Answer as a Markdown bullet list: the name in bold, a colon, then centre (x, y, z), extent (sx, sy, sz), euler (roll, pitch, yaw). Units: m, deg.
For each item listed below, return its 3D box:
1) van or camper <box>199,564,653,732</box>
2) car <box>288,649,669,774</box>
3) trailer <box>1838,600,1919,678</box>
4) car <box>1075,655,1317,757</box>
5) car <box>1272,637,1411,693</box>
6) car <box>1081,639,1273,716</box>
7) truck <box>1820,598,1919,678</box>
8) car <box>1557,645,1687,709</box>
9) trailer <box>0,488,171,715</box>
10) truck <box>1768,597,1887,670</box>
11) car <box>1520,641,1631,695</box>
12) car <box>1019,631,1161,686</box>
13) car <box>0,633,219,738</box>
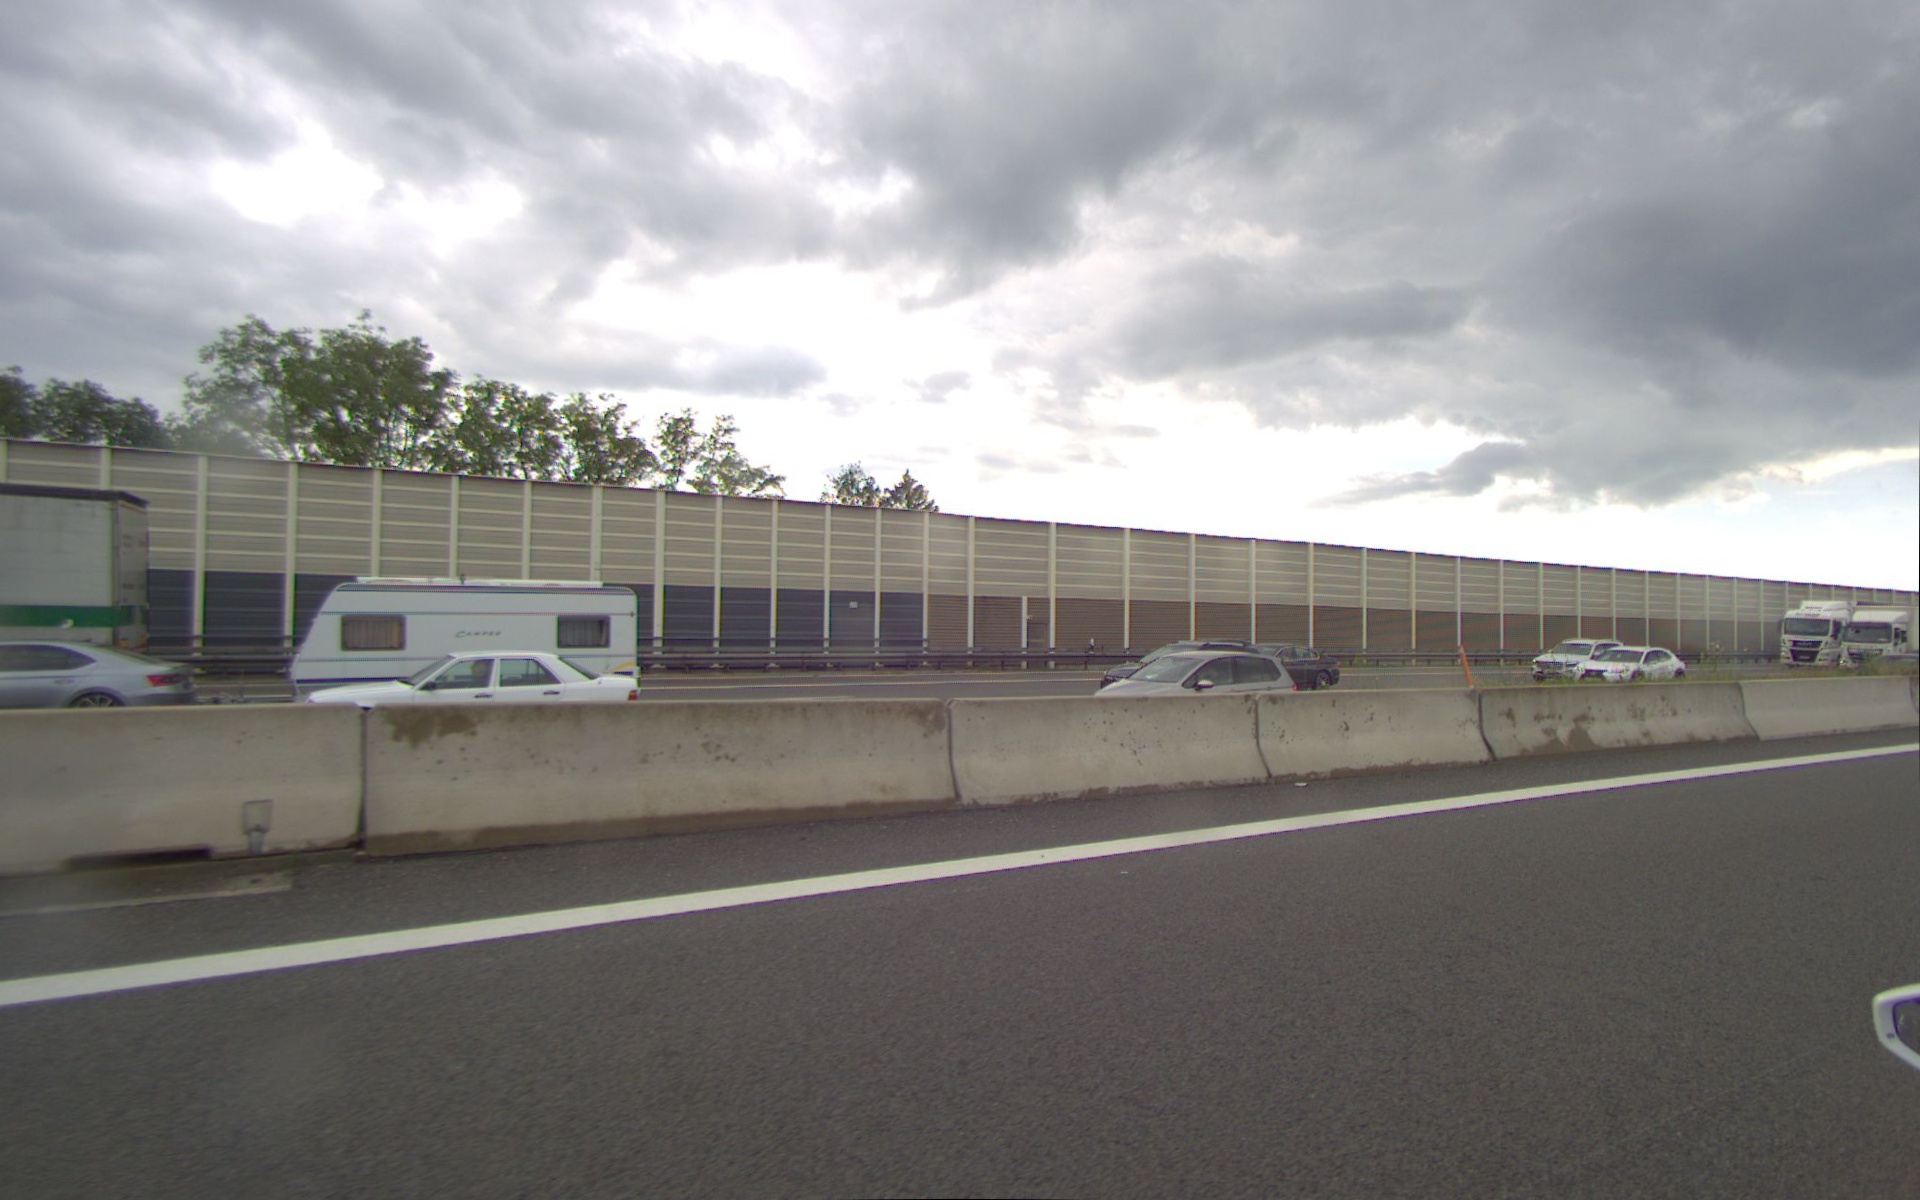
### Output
- **van or camper**: centre (-9.641, 0.886, 18.851), extent (7.066, 2.676, 2.333), euler (2, -2, -30)
- **car**: centre (-7.310, 1.608, 15.609), extent (5.036, 1.620, 1.914), euler (2, -2, -30)
- **trailer**: centre (54.337, 2.187, 56.384), extent (14.806, 3.987, 3.064), euler (2, 0, -30)
- **car**: centre (4.375, 1.854, 18.514), extent (4.203, 1.620, 1.914), euler (2, -2, -30)
- **car**: centre (12.122, 2.028, 31.880), extent (4.203, 1.620, 1.914), euler (2, -2, -30)
- **car**: centre (5.102, 1.757, 23.510), extent (4.203, 1.620, 1.914), euler (2, -2, -30)
- **truck**: centre (49.511, 2.021, 53.540), extent (7.959, 3.987, 3.064), euler (2, 0, -30)
- **car**: centre (21.730, 2.469, 32.939), extent (4.203, 1.931, 1.914), euler (2, -2, -30)
- **trailer**: centre (-21.676, -0.125, 16.256), extent (13.654, 3.987, 2.550), euler (2, 0, -30)
- **truck**: centre (52.272, 2.024, 60.447), extent (8.810, 4.129, 2.697), euler (2, 0, -30)
- **car**: centre (23.582, 2.578, 38.460), extent (4.203, 1.931, 1.914), euler (2, -2, -30)
- **car**: centre (4.162, 1.842, 32.004), extent (4.203, 1.620, 1.914), euler (2, -2, -30)
- **car**: centre (-14.887, 1.301, 15.703), extent (5.080, 1.546, 1.739), euler (2, -2, -30)
